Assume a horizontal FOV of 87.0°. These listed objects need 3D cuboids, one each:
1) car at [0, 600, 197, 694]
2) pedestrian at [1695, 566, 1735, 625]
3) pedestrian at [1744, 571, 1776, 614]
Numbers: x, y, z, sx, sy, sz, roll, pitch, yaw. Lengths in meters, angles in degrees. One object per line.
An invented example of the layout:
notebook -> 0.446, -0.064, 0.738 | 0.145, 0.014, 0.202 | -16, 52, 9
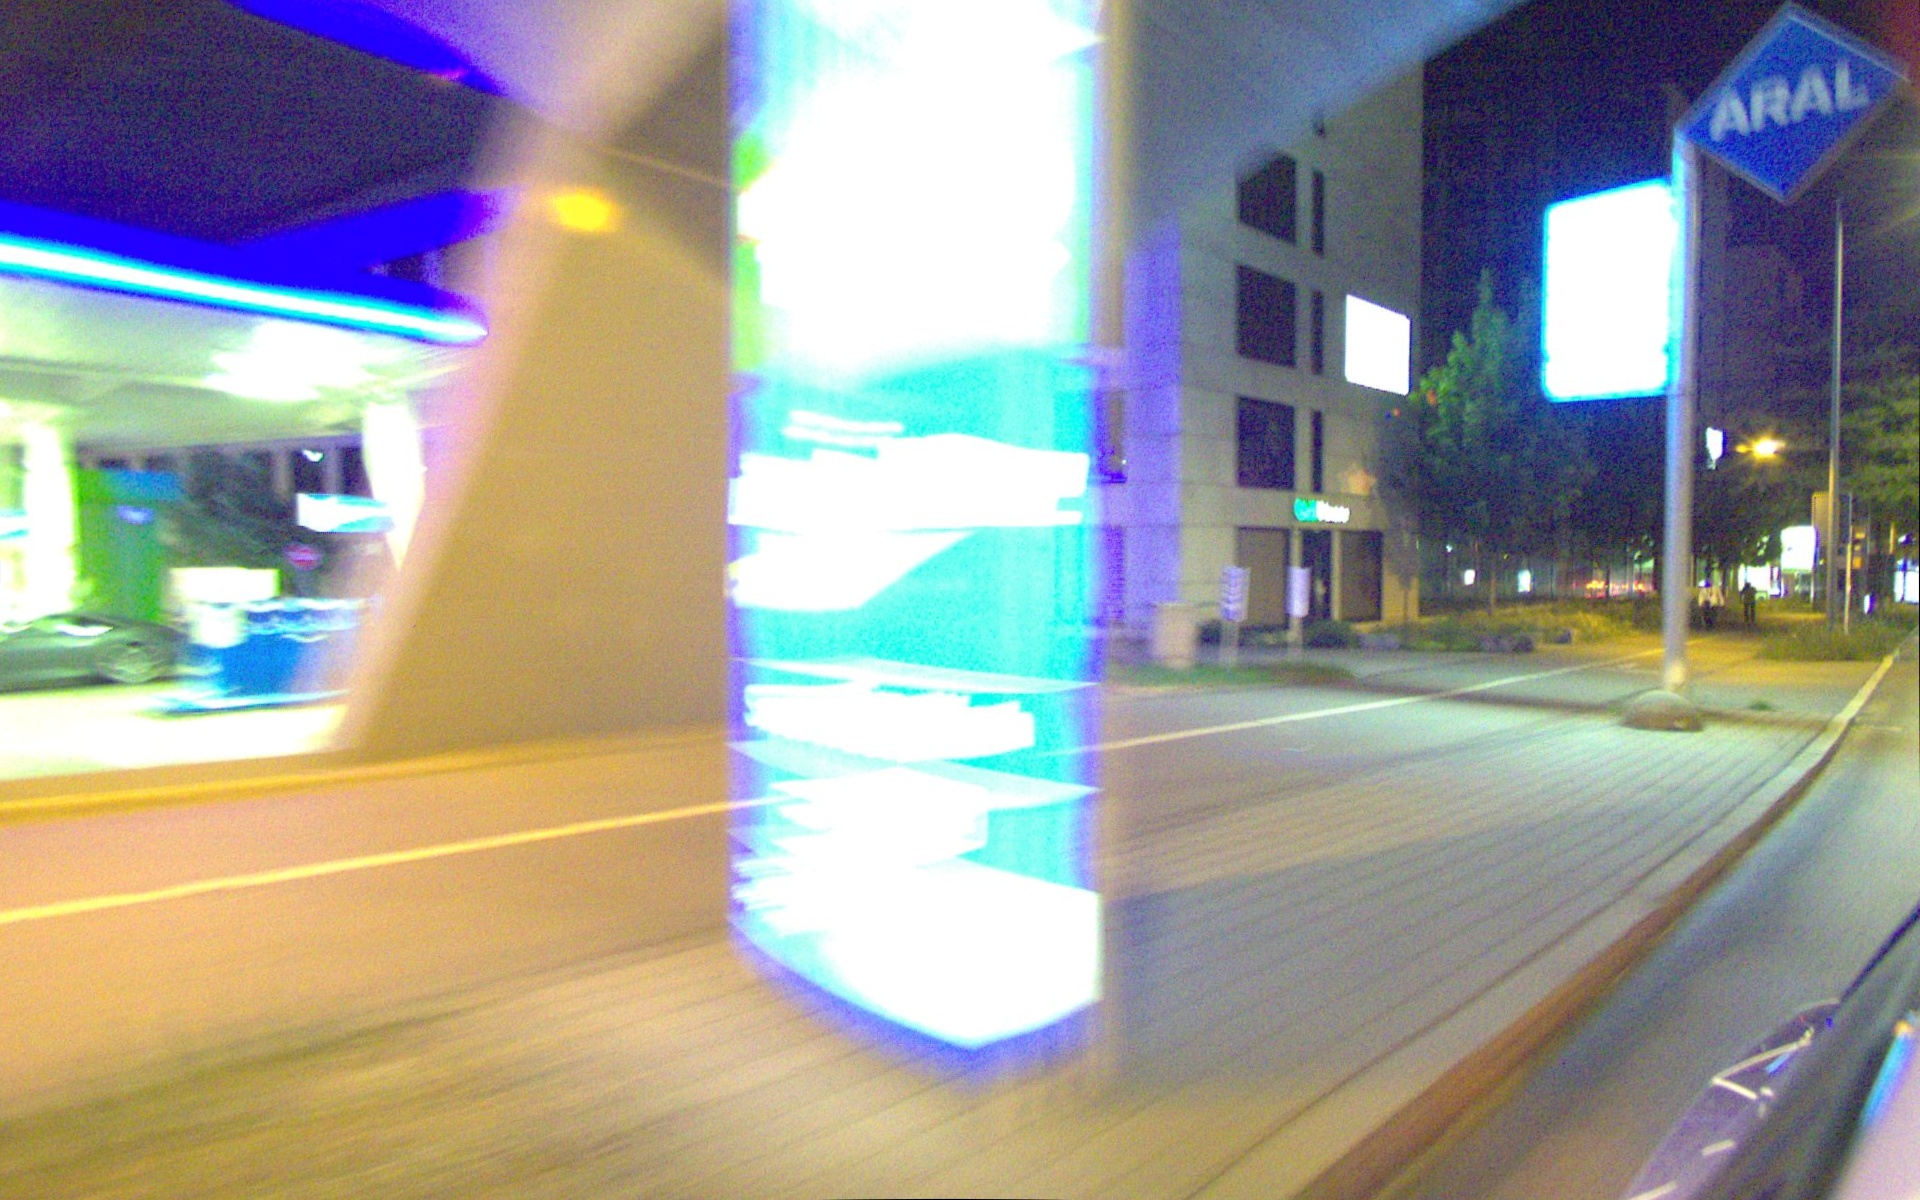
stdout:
car -> -15.531, 0.768, 16.820 | 1.925, 1.380, 4.271 | 1, 2, 41
pedestrian -> 25.476, -0.160, 34.148 | 0.778, 1.936, 0.808 | 0, 3, -35
pedestrian -> 33.656, -0.343, 42.569 | 0.941, 1.727, 0.854 | -2, 5, -44
